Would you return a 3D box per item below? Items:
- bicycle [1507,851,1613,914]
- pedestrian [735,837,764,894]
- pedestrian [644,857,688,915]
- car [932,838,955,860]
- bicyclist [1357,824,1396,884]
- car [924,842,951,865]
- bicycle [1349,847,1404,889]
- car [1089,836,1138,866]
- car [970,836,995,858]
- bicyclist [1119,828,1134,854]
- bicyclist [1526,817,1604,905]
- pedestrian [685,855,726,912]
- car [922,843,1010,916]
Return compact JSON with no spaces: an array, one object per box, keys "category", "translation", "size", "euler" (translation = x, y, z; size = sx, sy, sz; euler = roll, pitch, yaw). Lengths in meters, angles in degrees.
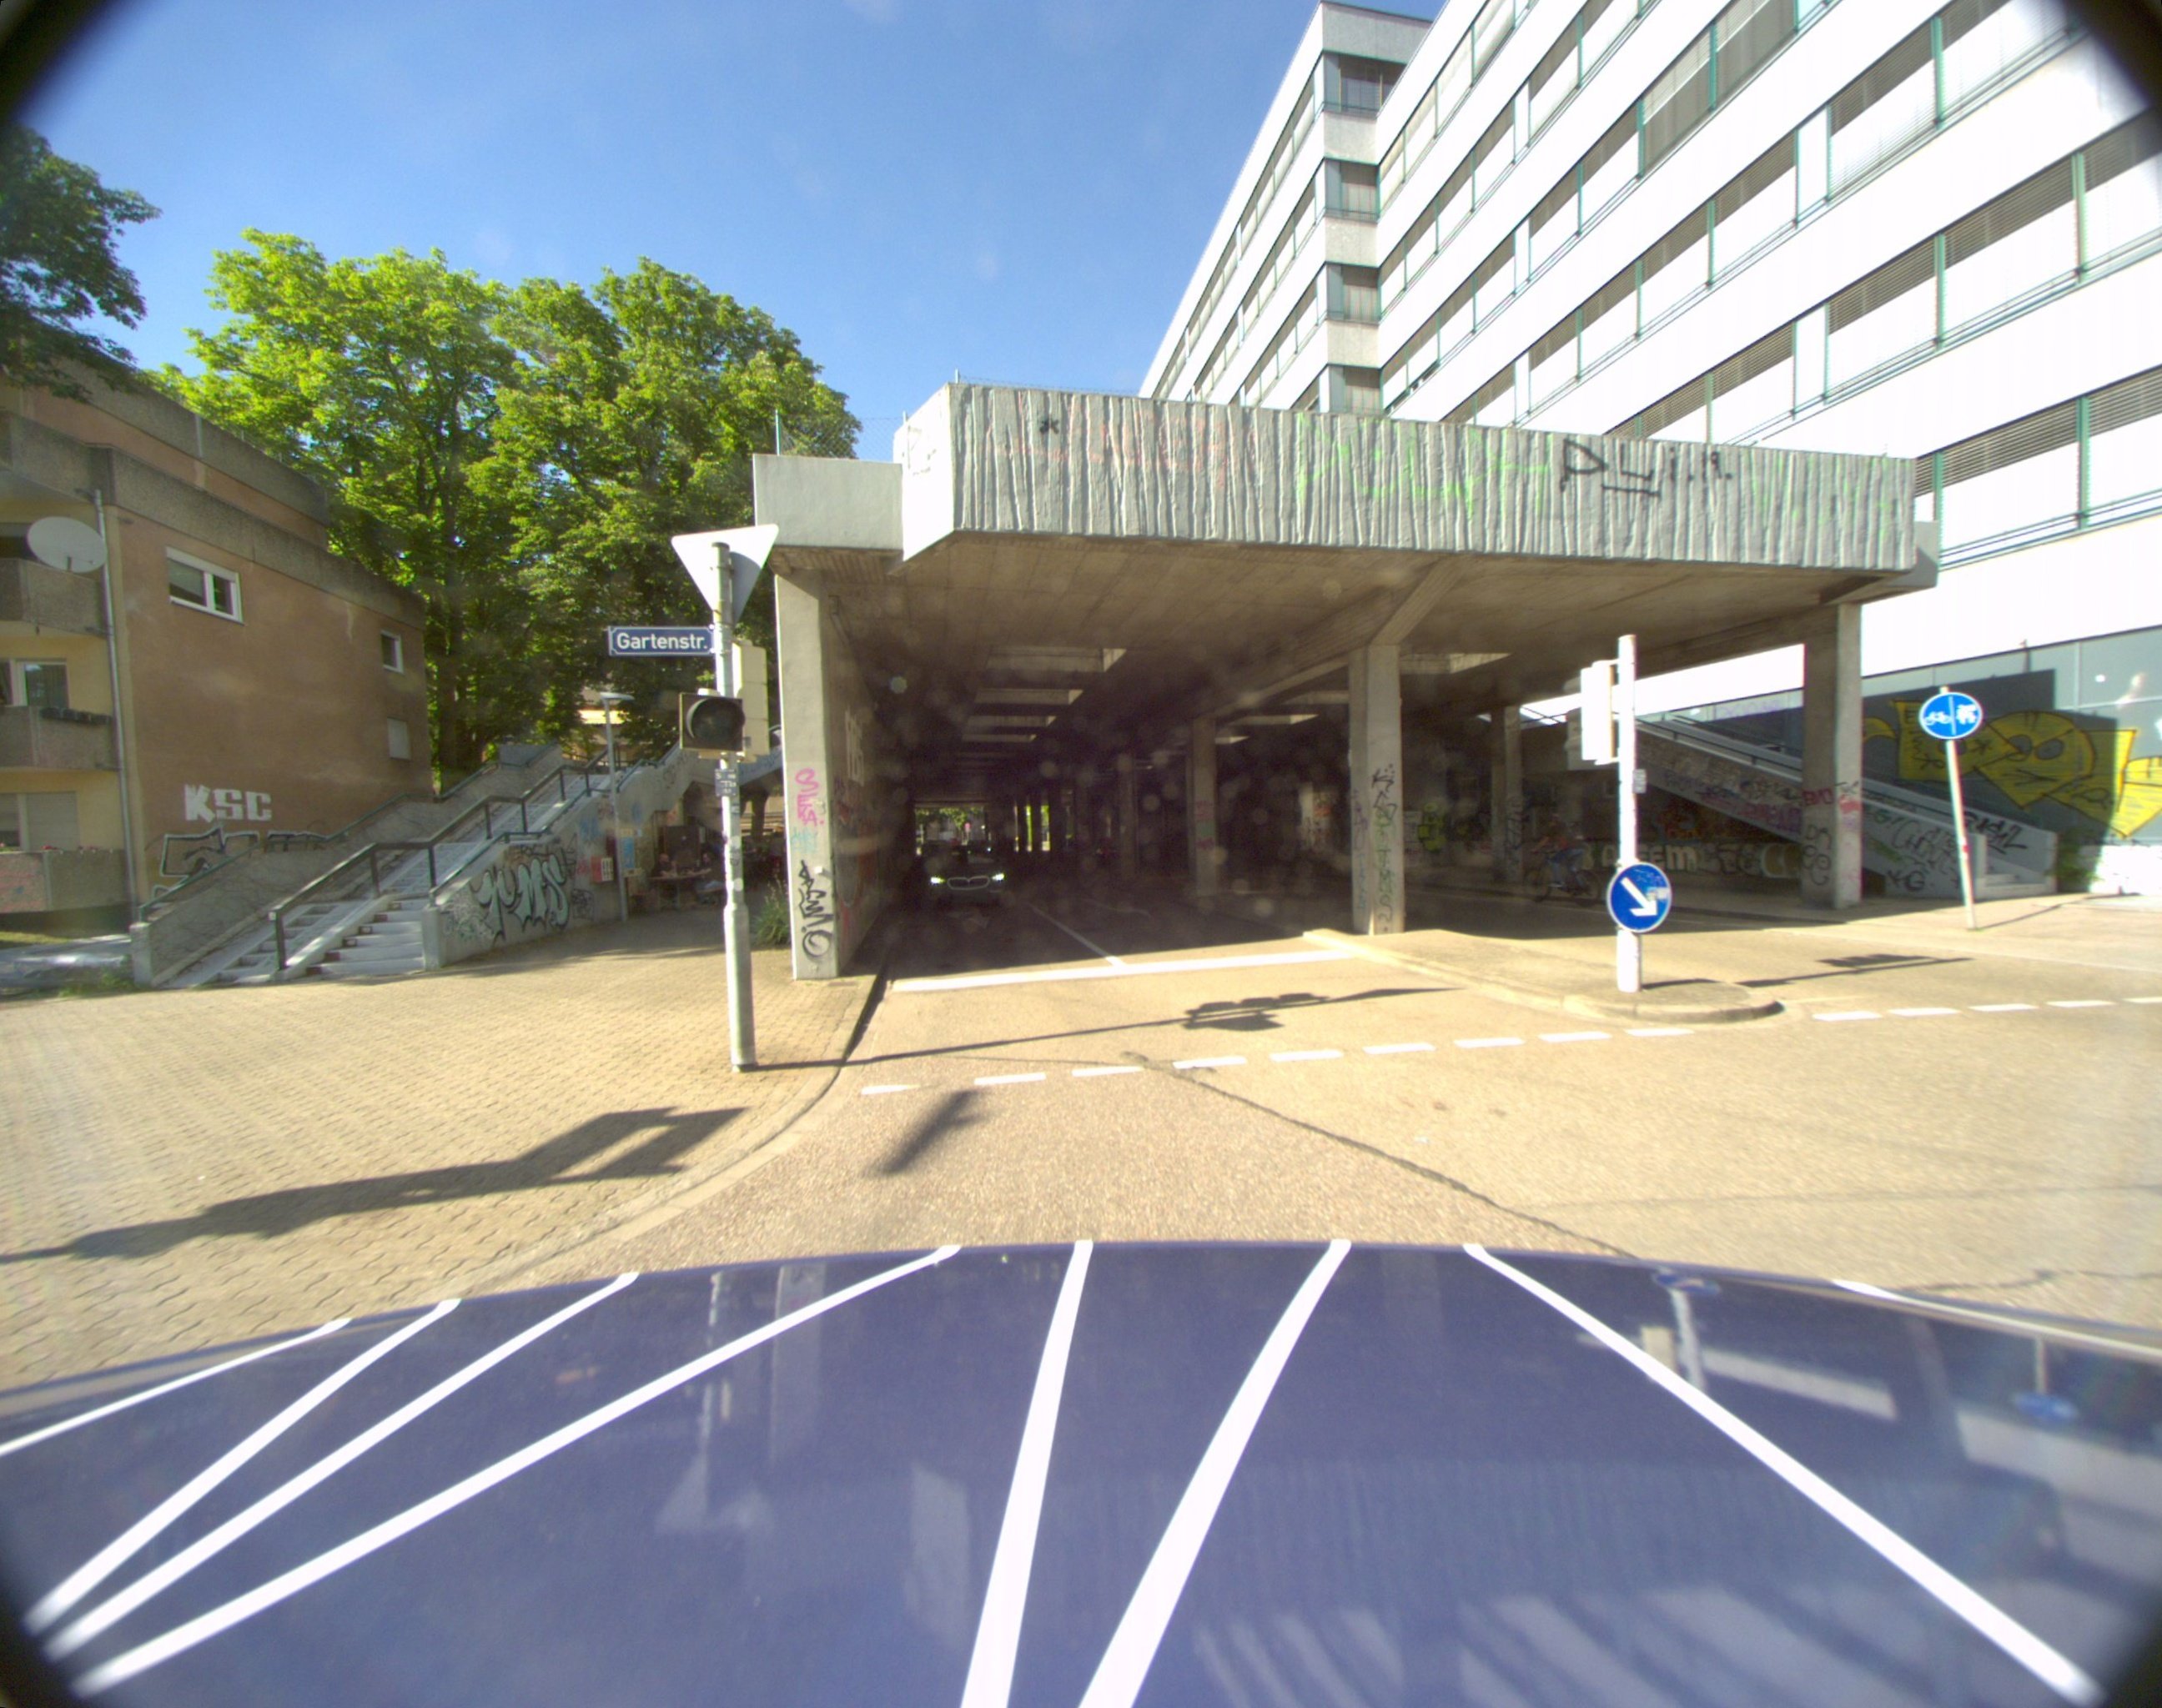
[{"category":"bicycle","translation":[9.408,0.516,15.034],"size":[0.543,1.117,2.056],"euler":[-2,2,-9]},{"category":"pedestrian","translation":[-10.071,0.339,23.100],"size":[0.658,1.682,0.588],"euler":[-3,2,-17]},{"category":"pedestrian","translation":[-9.760,0.739,17.881],"size":[0.741,1.291,0.612],"euler":[-3,2,-17]},{"category":"car","translation":[-10.212,-0.418,56.560],"size":[1.618,1.546,4.008],"euler":[-2,2,-10]},{"category":"bicyclist","translation":[8.236,-0.012,21.183],"size":[0.608,1.623,0.909],"euler":[-2,2,-11]},{"category":"car","translation":[-9.499,-0.093,50.357],"size":[1.618,1.367,4.194],"euler":[-2,2,-10]},{"category":"bicycle","translation":[8.246,0.365,21.282],"size":[0.527,1.084,1.858],"euler":[-2,2,-11]},{"category":"car","translation":[1.663,-0.204,39.721],"size":[1.663,1.433,3.458],"euler":[-2,2,-12]},{"category":"car","translation":[-7.309,-0.553,56.196],"size":[1.618,1.546,4.008],"euler":[-2,2,-10]},{"category":"bicyclist","translation":[3.040,-0.887,50.755],"size":[0.748,1.701,0.966],"euler":[-2,0,-12]},{"category":"bicyclist","translation":[9.442,0.119,14.862],"size":[0.784,1.651,1.030],"euler":[-2,2,-9]},{"category":"pedestrian","translation":[-8.948,0.690,18.112],"size":[0.725,1.291,0.588],"euler":[-3,2,-17]},{"category":"car","translation":[-3.103,0.553,20.026],"size":[1.959,1.547,5.034],"euler":[-2,2,-11]}]
